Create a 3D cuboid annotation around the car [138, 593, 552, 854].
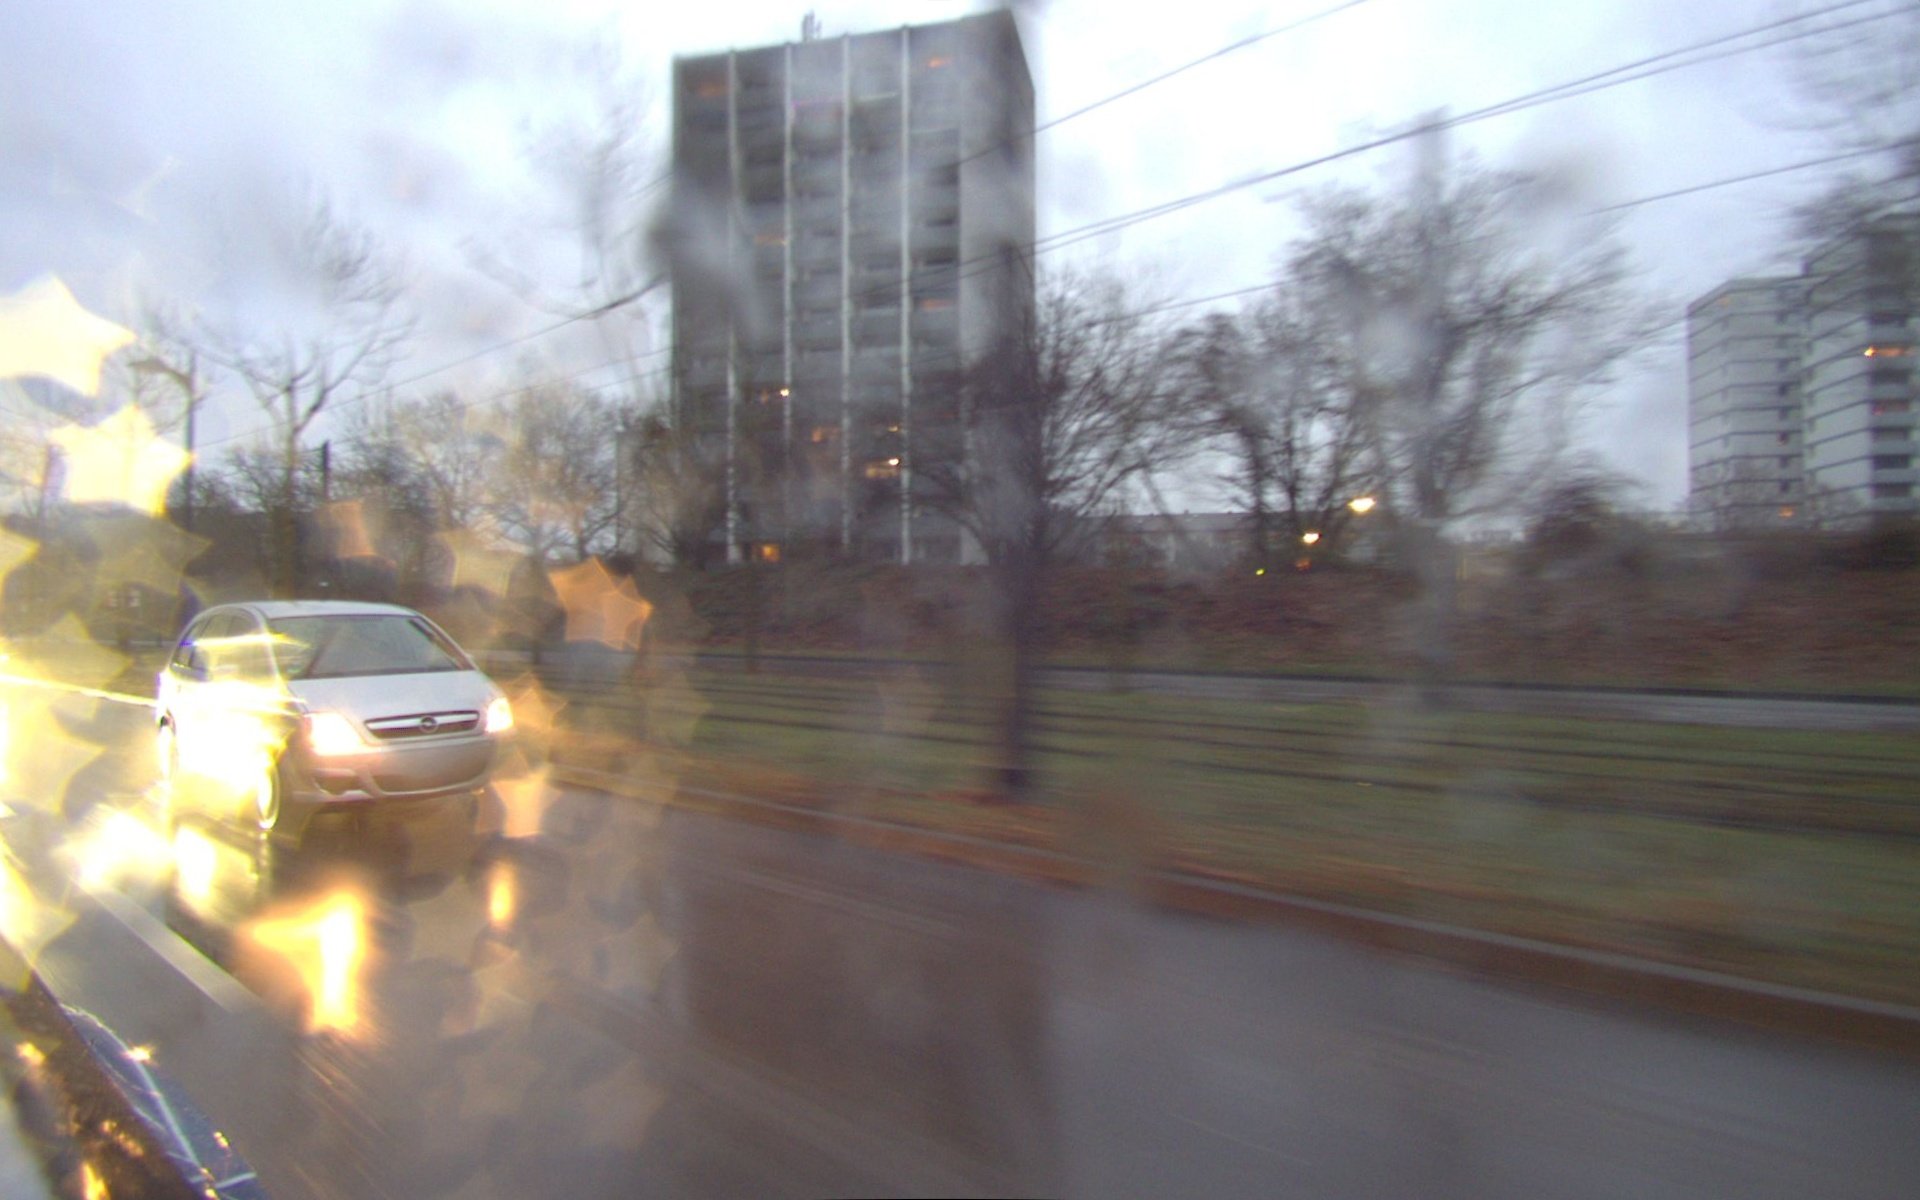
[{"bbox_3d":[-5.048,0.784,8.094,3.919,1.587,1.648,-1,0,40],"label":"car"}]
